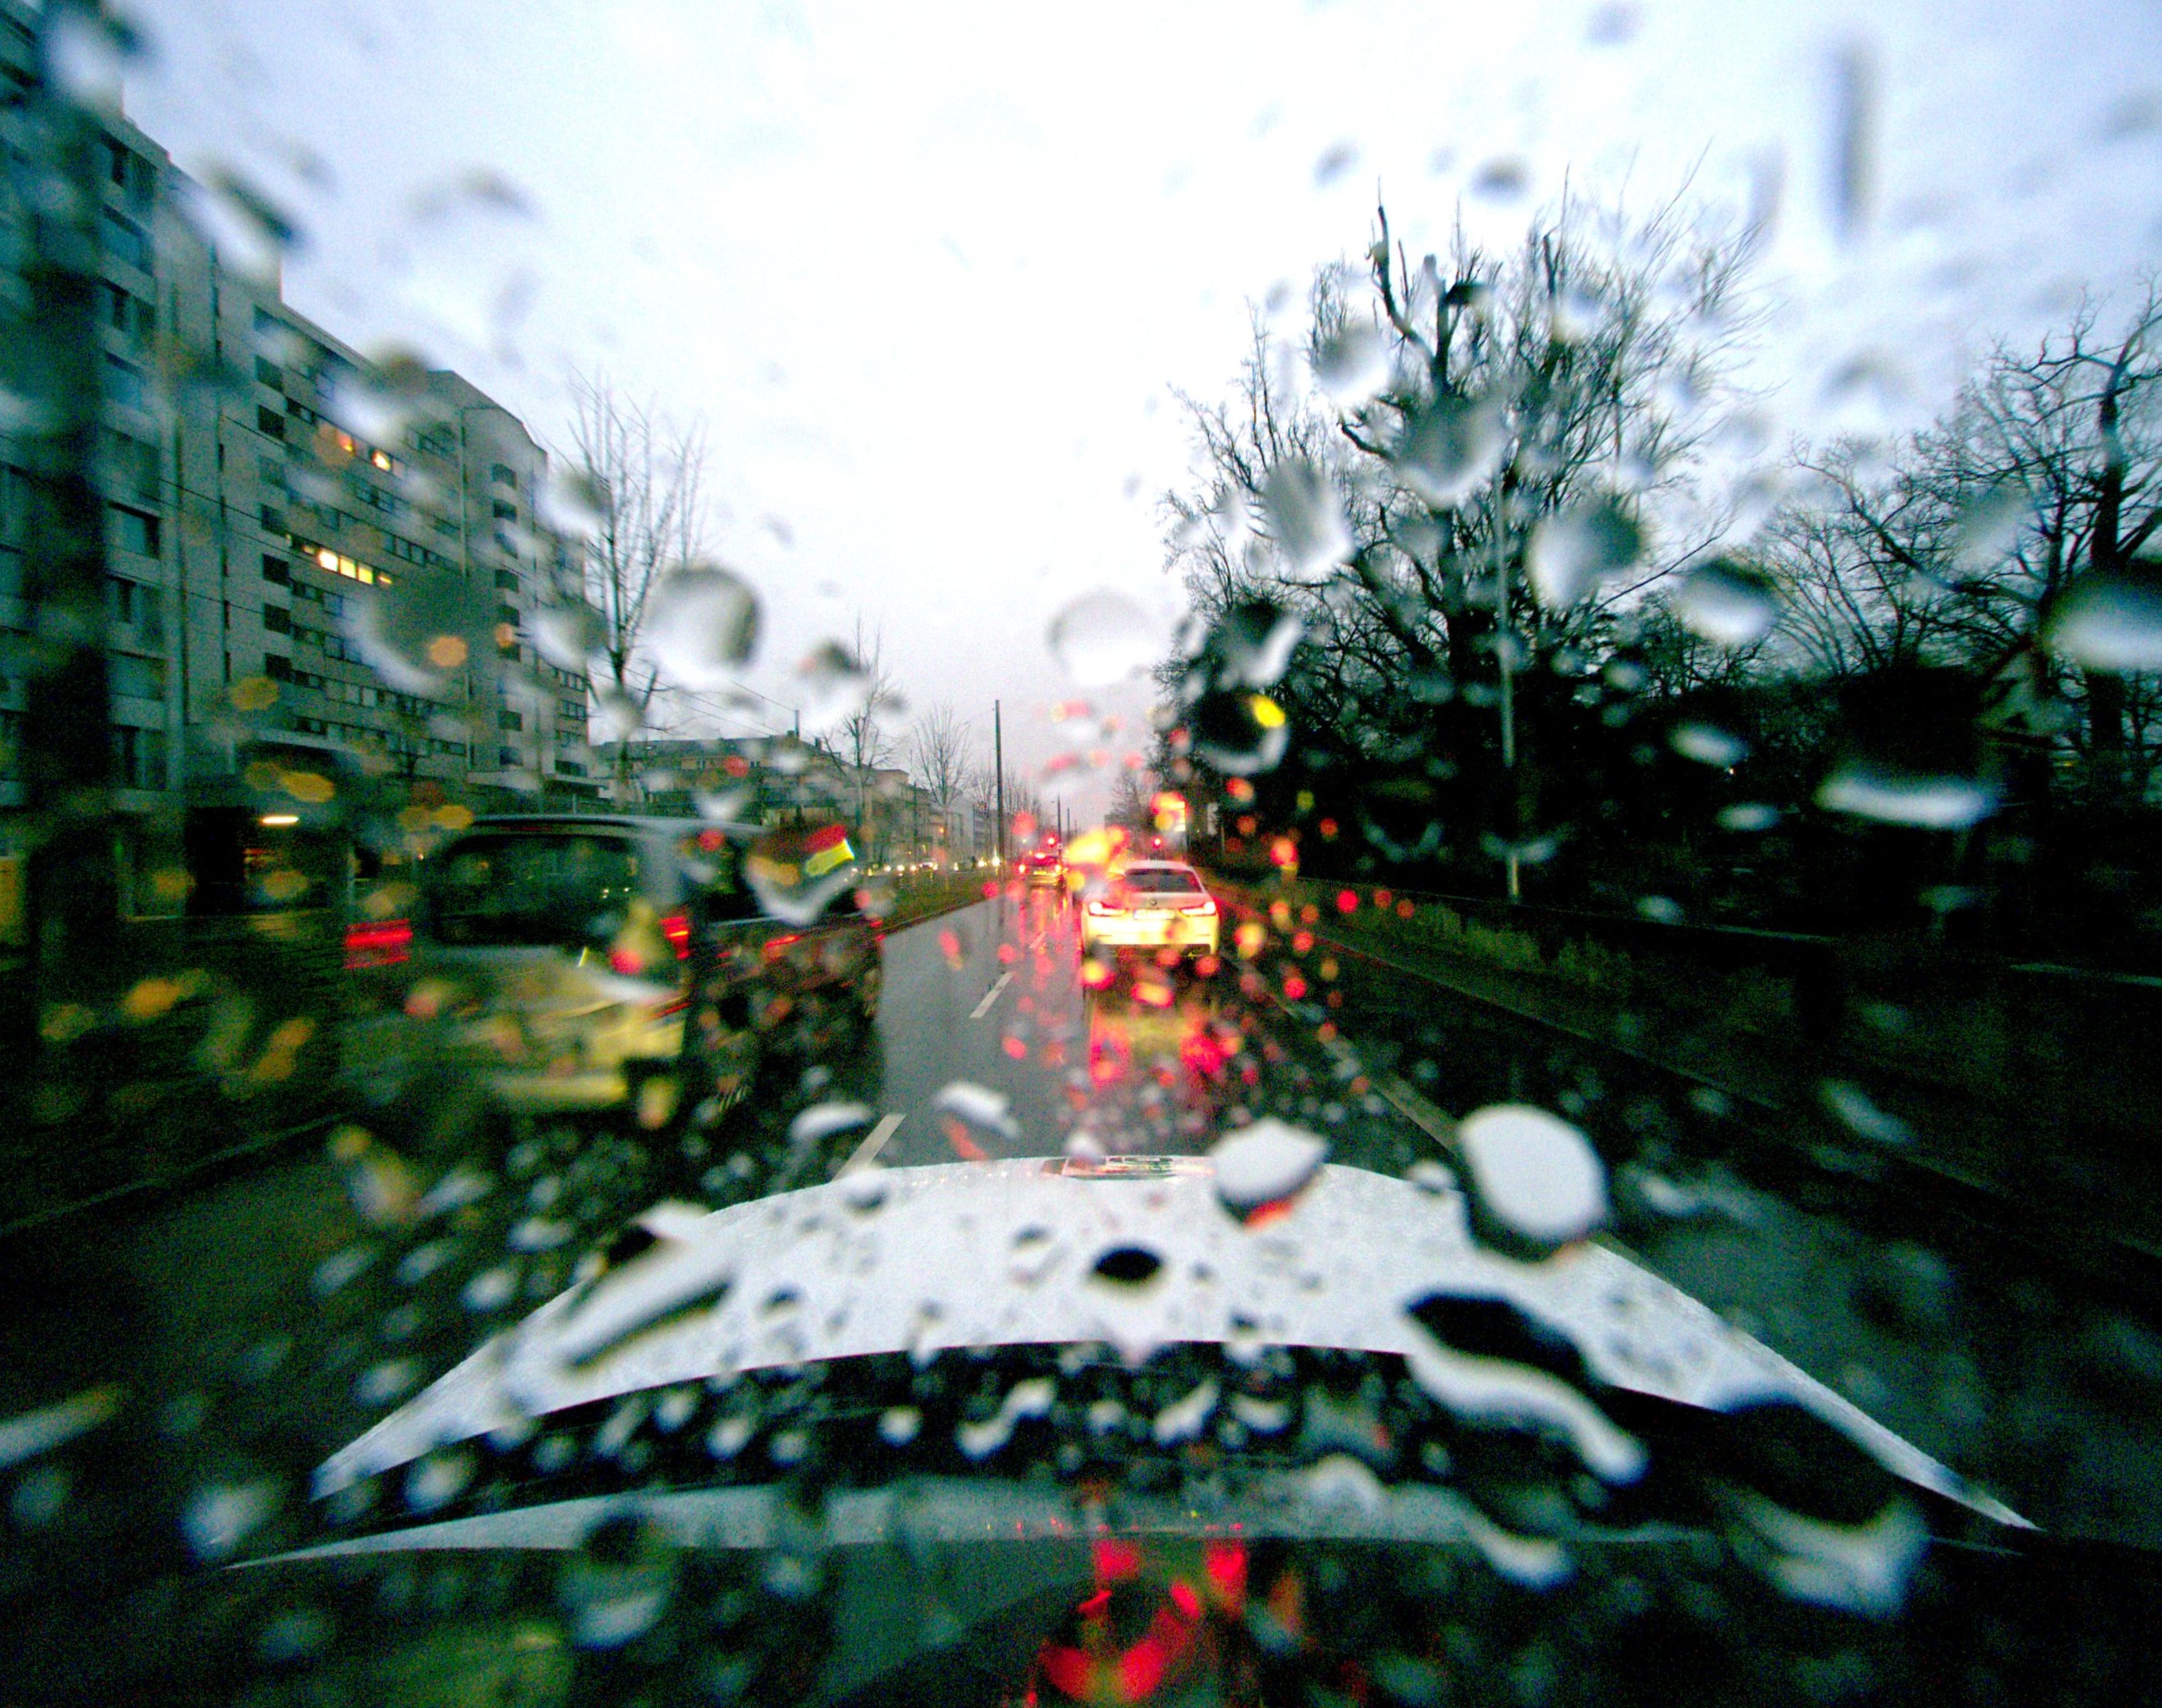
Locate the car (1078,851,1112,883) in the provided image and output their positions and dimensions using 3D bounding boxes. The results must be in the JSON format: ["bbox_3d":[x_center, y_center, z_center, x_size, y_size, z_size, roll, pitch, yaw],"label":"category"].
[{"bbox_3d":[0.828,0.679,45.204,1.800,1.646,4.002,0,0,2],"label":"car"}]

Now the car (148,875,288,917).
[{"bbox_3d":[-38.732,1.850,36.627,4.347,1.695,1.727,-1,0,-1],"label":"car"}]

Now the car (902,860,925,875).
[{"bbox_3d":[-20.027,1.592,97.451,1.891,1.719,4.913,-1,0,-2],"label":"car"}]

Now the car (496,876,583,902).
[{"bbox_3d":[-30.642,1.959,46.190,4.015,1.387,1.916,1,-1,-33],"label":"car"}]

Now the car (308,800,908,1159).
[{"bbox_3d":[-2.790,0.620,6.234,1.786,1.736,4.540,0,0,2],"label":"car"}]

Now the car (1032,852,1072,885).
[{"bbox_3d":[-1.597,0.789,45.816,1.986,1.755,4.001,0,0,1],"label":"car"}]

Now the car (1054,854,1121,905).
[{"bbox_3d":[0.263,0.741,25.797,1.928,1.457,4.165,-1,0,2],"label":"car"}]

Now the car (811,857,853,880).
[{"bbox_3d":[-20.069,1.128,65.861,1.891,1.719,5.114,-2,0,-2],"label":"car"}]

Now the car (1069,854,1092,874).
[{"bbox_3d":[-0.034,0.834,69.516,1.800,1.646,4.002,0,0,2],"label":"car"}]

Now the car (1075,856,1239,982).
[{"bbox_3d":[1.003,0.799,12.052,1.992,1.508,4.165,-1,0,2],"label":"car"}]

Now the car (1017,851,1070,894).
[{"bbox_3d":[-1.470,0.718,33.378,1.800,1.646,4.002,0,0,2],"label":"car"}]
